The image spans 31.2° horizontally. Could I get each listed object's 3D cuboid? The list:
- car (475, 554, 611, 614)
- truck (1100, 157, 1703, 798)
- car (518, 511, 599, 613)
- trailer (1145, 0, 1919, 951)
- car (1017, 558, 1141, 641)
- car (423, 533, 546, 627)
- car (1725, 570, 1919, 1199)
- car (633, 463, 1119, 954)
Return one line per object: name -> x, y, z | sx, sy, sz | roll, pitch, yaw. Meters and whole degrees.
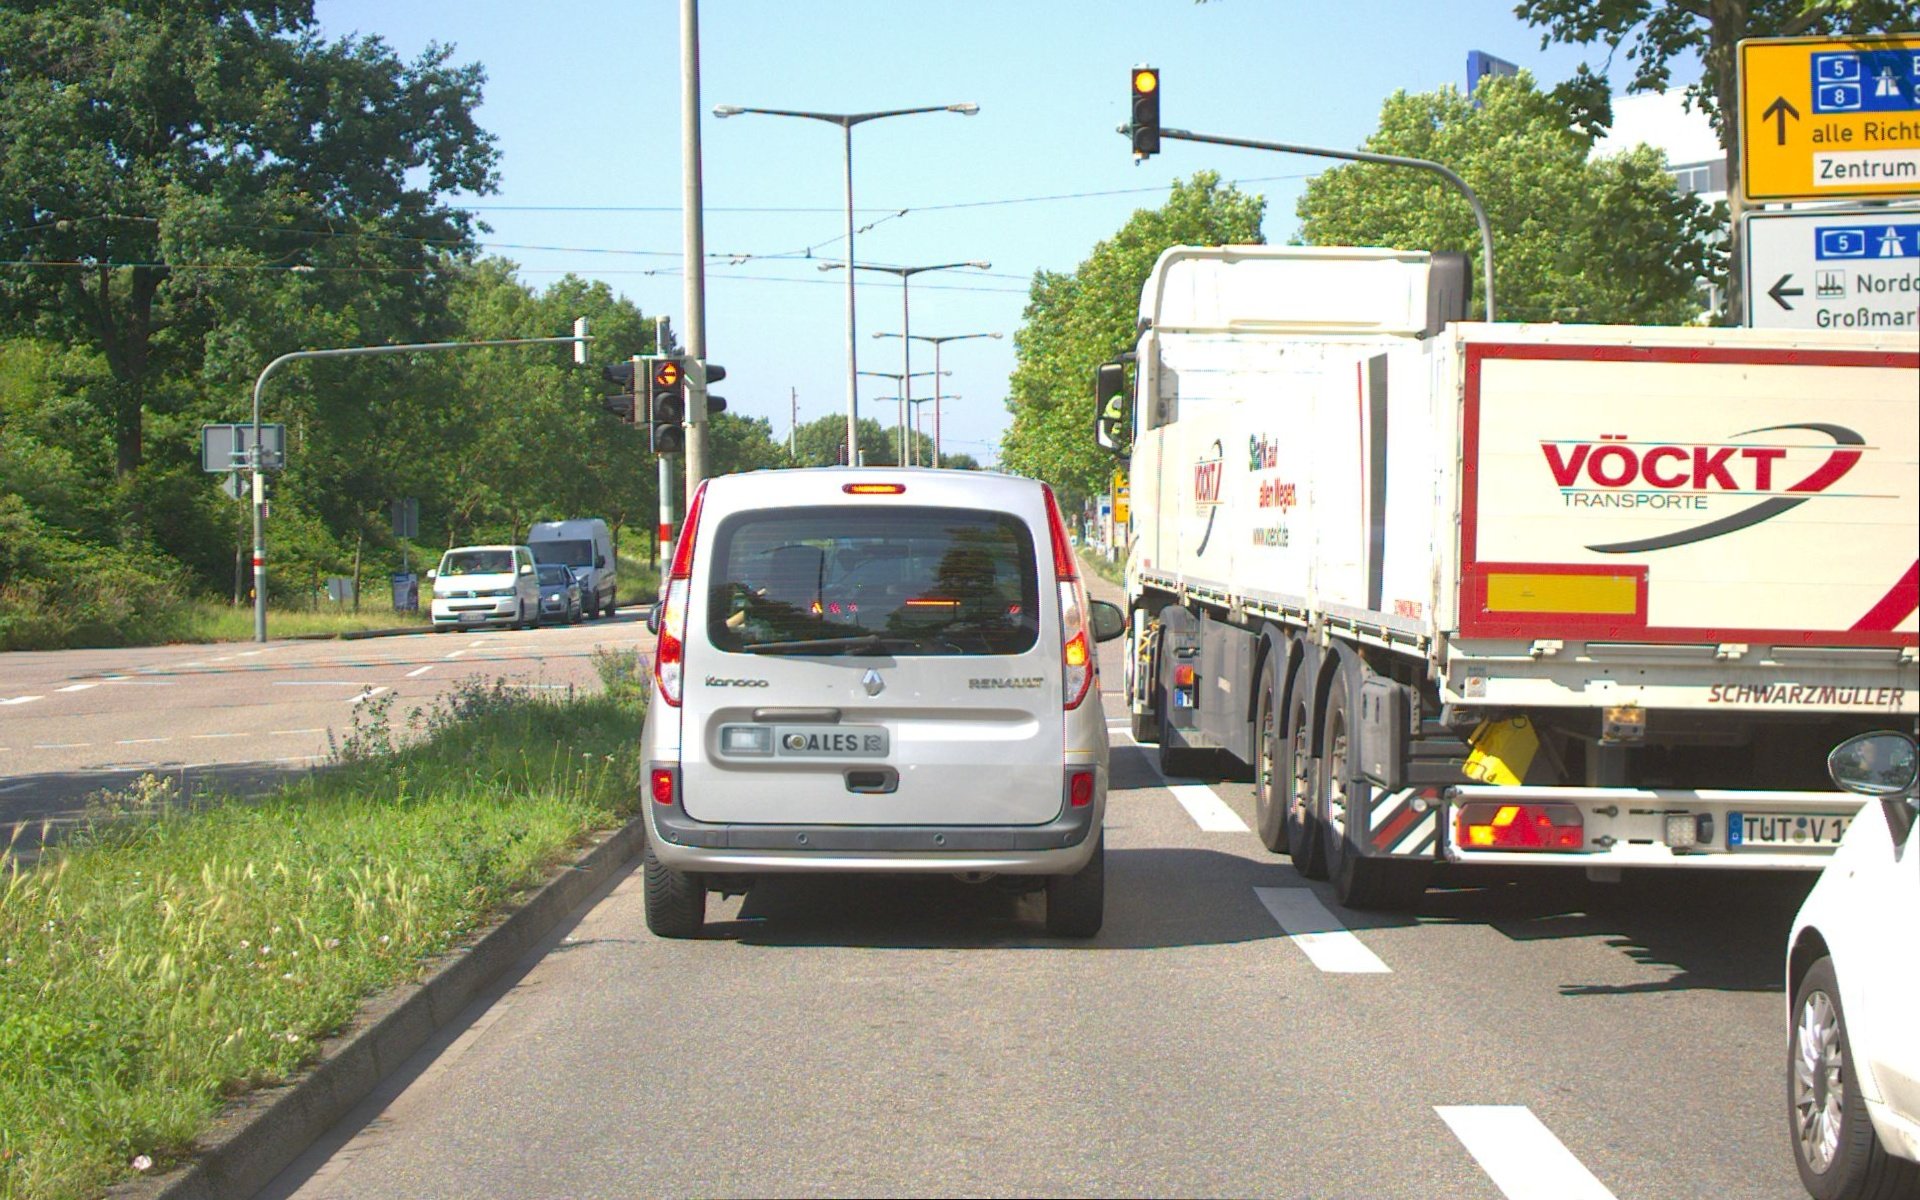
car -> -10.119, -0.401, 83.184 | 1.911, 1.404, 4.228 | 0, 1, -27
truck -> 2.742, -0.760, 23.876 | 3.071, 3.745, 7.477 | 0, 1, -1
car -> -10.606, -1.008, 91.044 | 2.058, 2.605, 5.871 | 0, 1, -6
trailer -> 2.775, -0.815, 17.088 | 3.016, 3.728, 12.240 | 0, 1, 0
car -> 2.393, -0.038, 69.965 | 1.993, 1.634, 4.001 | 0, 1, -6
car -> -10.356, -0.452, 75.176 | 1.993, 1.884, 4.988 | -3, 1, -1
car -> 2.694, 0.664, 6.720 | 1.661, 1.431, 3.520 | 0, 1, 1
car -> -0.329, 0.370, 14.370 | 1.749, 1.766, 3.949 | 0, 1, -1
